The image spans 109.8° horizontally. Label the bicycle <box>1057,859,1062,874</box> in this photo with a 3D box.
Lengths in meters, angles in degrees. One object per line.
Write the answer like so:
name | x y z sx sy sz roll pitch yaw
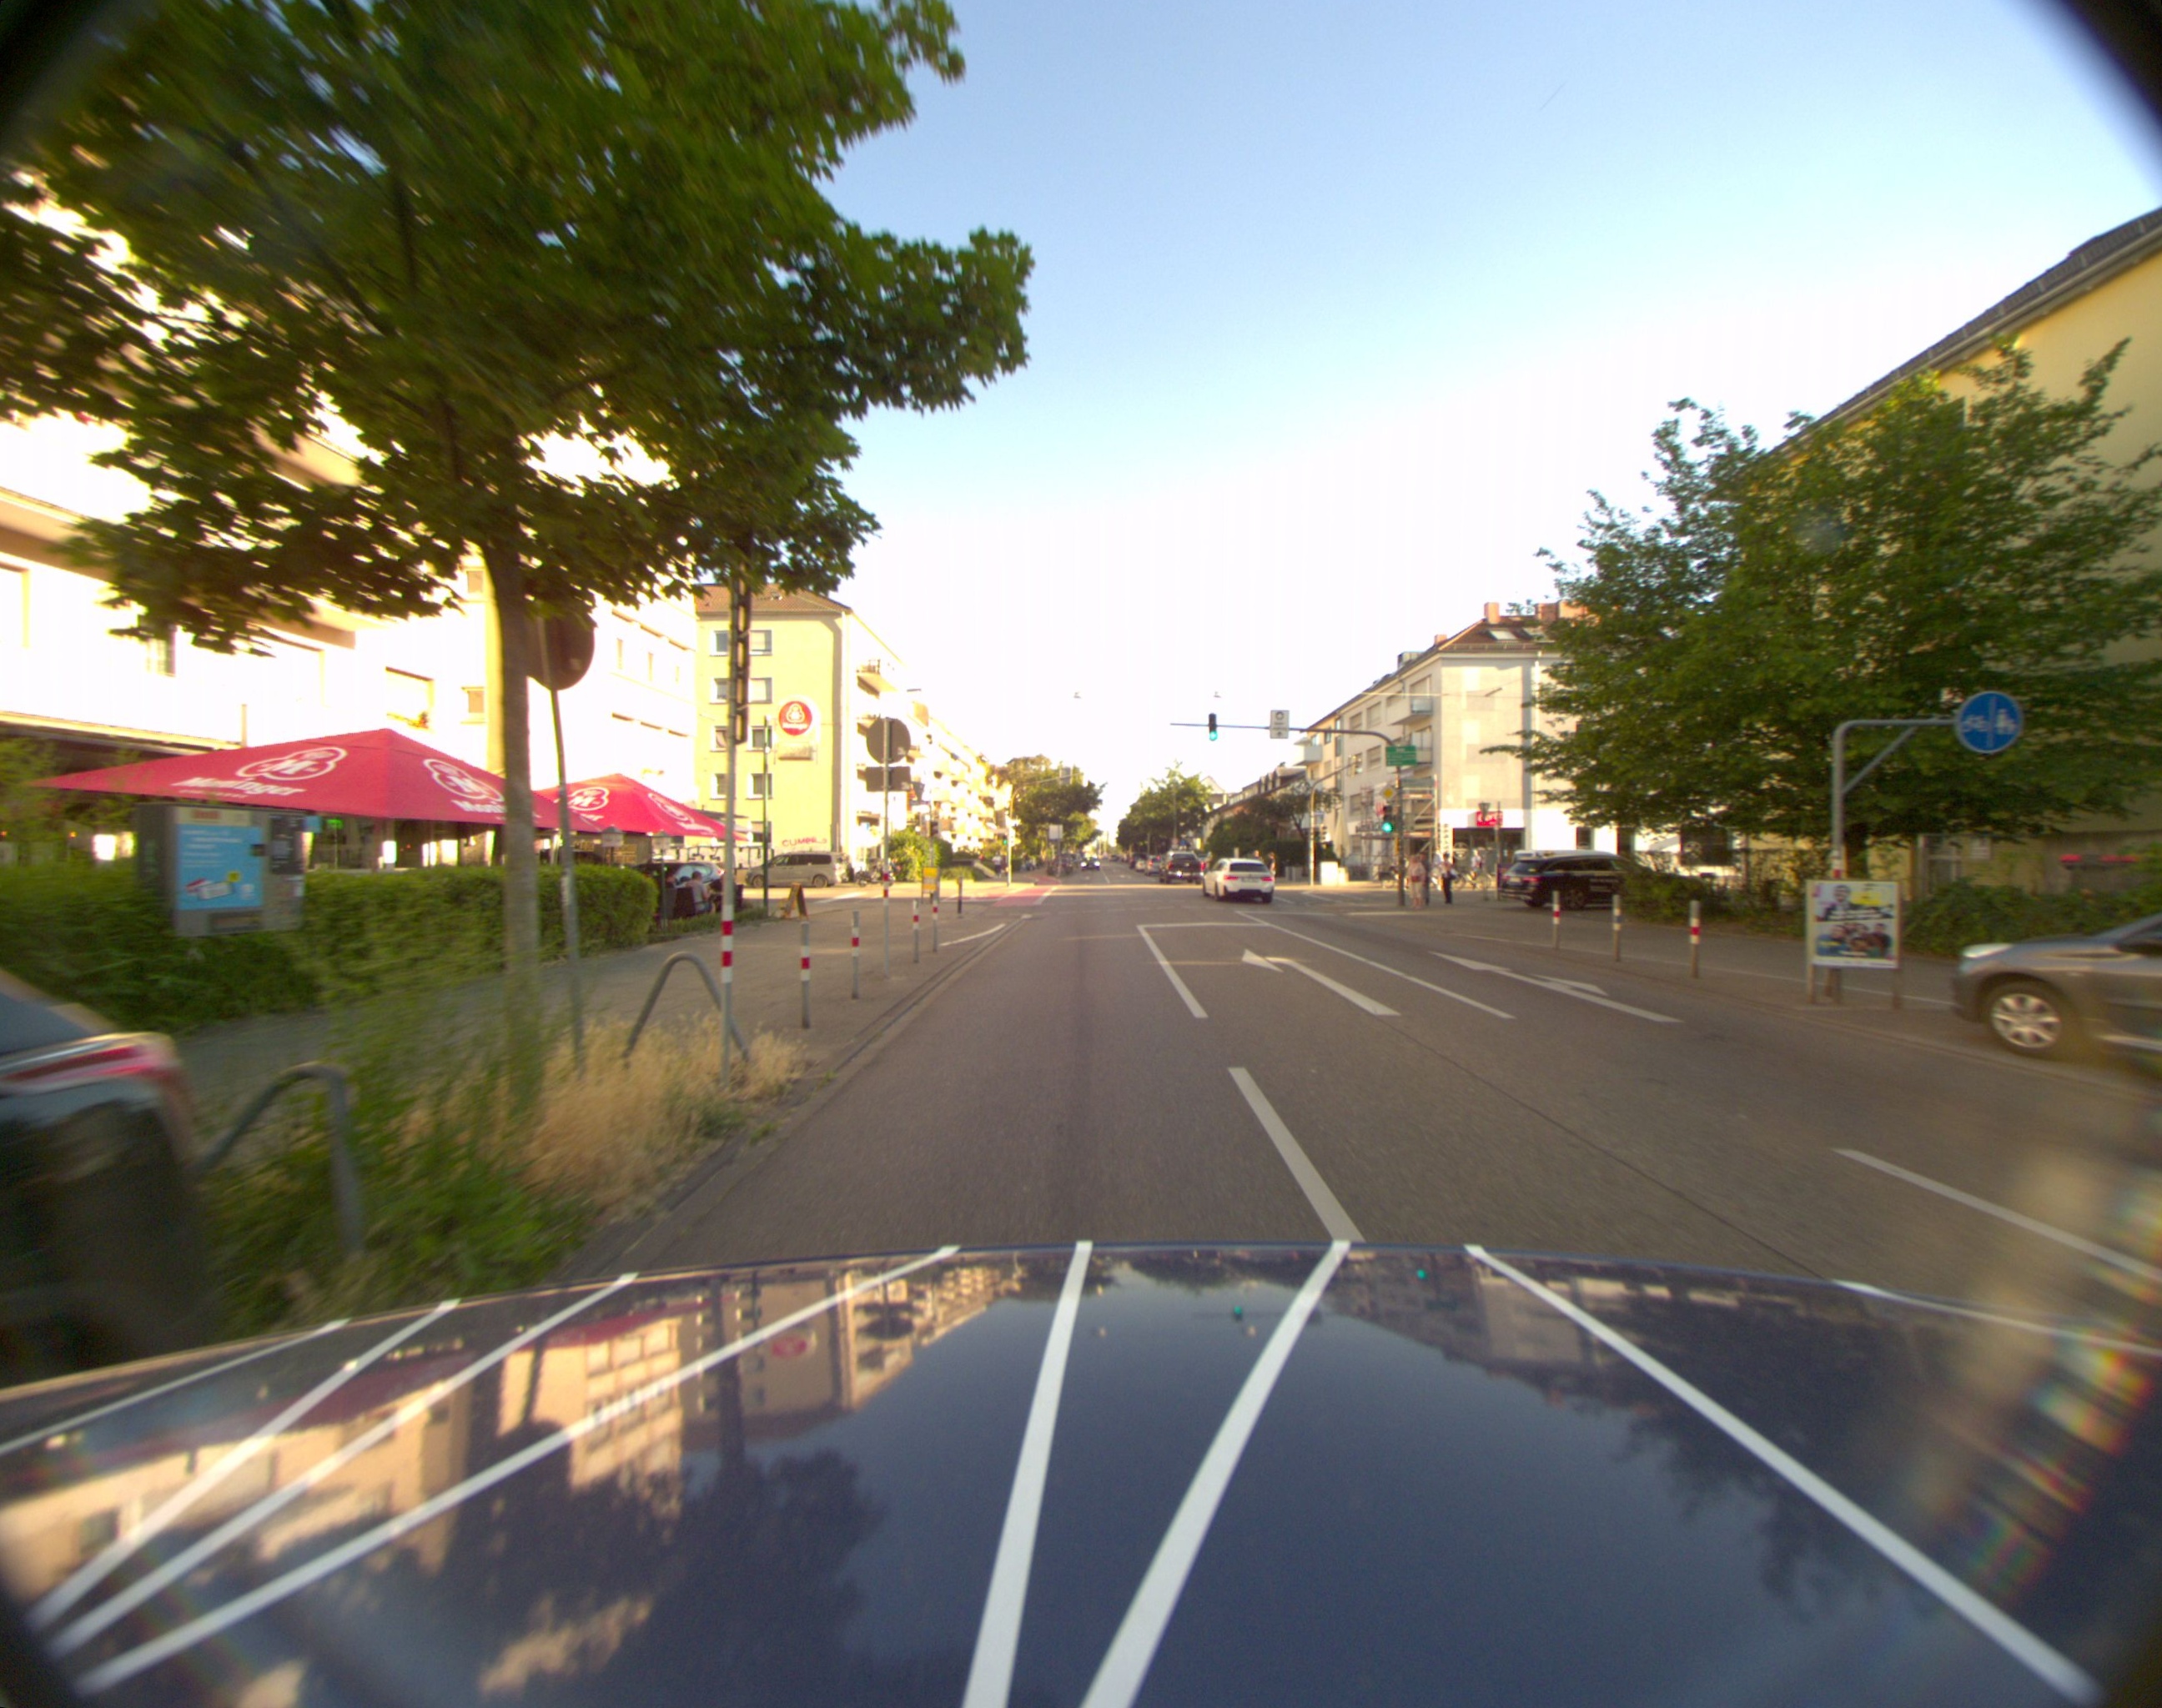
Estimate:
bicycle | -1.627 0.965 58.165 0.325 1.138 1.800 0 0 -4

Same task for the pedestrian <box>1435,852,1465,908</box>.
pedestrian | 11.233 0.795 23.114 0.607 1.620 0.751 -3 2 38

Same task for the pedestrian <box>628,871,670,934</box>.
pedestrian | -9.119 1.017 16.039 0.525 1.275 0.540 -1 1 3

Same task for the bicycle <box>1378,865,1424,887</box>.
bicycle | 15.730 1.065 37.375 1.996 1.083 0.729 0 0 11

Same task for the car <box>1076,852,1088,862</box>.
car | 0.142 0.498 126.073 1.744 1.508 3.811 0 0 3

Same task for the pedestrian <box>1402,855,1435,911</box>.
pedestrian | 9.903 0.846 22.315 0.608 1.585 0.749 -1 2 -2

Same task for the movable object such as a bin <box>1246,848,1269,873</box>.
movable object such as a bin | 12.895 0.471 55.668 1.309 1.649 1.180 -4 2 1

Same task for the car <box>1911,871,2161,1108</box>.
car | 7.721 0.887 4.373 1.657 1.471 3.943 0 0 2

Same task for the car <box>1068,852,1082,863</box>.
car | -0.785 0.503 104.892 1.744 1.508 3.811 0 0 3

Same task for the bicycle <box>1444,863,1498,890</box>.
bicycle | 17.034 0.958 33.202 1.999 1.150 0.728 0 0 -5

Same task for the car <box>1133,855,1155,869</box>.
car | 5.984 0.730 72.422 1.845 1.312 4.442 0 0 2

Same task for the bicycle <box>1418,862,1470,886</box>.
bicycle | 18.084 0.994 37.940 2.267 1.083 0.729 1 3 20

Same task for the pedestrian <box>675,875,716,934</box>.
pedestrian | -7.679 1.000 15.156 0.494 1.143 0.526 -1 1 5

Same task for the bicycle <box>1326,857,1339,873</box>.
bicycle | 16.299 0.720 49.274 0.439 1.009 1.477 0 1 4

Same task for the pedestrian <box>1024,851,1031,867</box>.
pedestrian | -5.704 0.511 81.050 0.659 1.673 0.831 1 1 6

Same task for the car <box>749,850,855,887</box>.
car | -14.739 0.749 40.310 4.842 1.855 1.952 0 2 -1

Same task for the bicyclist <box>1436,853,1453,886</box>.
bicyclist | 18.131 0.788 37.911 0.687 1.586 0.751 1 3 20

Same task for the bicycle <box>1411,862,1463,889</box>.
bicycle | 15.839 0.959 33.868 1.999 1.159 0.728 0 -1 -5

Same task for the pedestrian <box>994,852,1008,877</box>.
pedestrian | -5.581 0.724 52.856 0.830 1.673 0.660 0 1 5

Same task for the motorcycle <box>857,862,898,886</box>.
motorcycle | -10.658 1.063 39.838 1.992 1.194 0.774 -1 1 -12

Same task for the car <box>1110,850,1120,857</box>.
car | 8.116 -0.142 181.984 1.843 1.604 4.406 0 0 -6

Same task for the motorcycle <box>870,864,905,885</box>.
motorcycle | -10.402 1.095 40.900 1.698 1.105 0.594 -1 1 2

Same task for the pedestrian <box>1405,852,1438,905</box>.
pedestrian | 10.769 0.770 24.024 0.750 1.648 0.608 0 1 -6

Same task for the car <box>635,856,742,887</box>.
car | -20.819 0.930 40.471 4.620 1.532 1.952 0 2 -1

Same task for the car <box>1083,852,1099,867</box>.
car | 1.056 0.552 80.493 1.641 1.482 4.415 1 0 1

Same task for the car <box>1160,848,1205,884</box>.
car | 5.478 0.614 41.518 1.866 1.819 5.227 1 0 1

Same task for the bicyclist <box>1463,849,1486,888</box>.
bicyclist | 17.199 0.629 33.217 0.608 1.711 0.750 0 0 -5

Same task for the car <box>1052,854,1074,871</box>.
car | -1.612 0.742 70.362 1.744 1.508 3.811 0 0 3

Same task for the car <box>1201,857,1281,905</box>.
car | 5.412 0.859 26.333 1.841 1.465 4.671 1 0 1

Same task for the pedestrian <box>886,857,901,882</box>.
pedestrian | -10.510 0.855 42.584 0.641 1.383 0.594 -1 1 0

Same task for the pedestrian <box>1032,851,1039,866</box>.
pedestrian | -4.997 0.489 83.318 0.659 1.673 0.831 1 1 6

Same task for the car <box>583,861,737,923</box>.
car | -11.431 0.962 20.999 1.832 1.475 4.204 0 0 1

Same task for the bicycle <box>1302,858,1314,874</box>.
bicycle | 14.784 0.771 49.508 0.439 1.009 1.477 0 1 4

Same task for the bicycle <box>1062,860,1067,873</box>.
bicycle | -1.316 1.000 60.572 0.325 0.981 1.191 0 1 5

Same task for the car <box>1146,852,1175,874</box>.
car | 6.074 0.675 58.420 1.809 1.548 4.000 -2 0 1

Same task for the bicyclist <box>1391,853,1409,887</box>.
bicyclist | 15.697 0.769 37.378 0.672 1.643 0.751 0 0 11

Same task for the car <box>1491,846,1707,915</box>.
car | 13.907 0.684 20.572 4.603 1.604 1.843 -2 0 -2

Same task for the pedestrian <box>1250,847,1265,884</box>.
pedestrian | 9.598 0.637 41.271 0.639 2.002 0.739 0 1 2

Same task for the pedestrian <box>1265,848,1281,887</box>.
pedestrian | 10.051 0.688 39.806 0.645 2.002 0.814 -1 2 2

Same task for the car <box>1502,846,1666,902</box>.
car | 17.526 0.672 26.644 4.483 1.837 1.908 0 1 1

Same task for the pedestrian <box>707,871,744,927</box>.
pedestrian | -7.522 0.947 16.096 0.413 1.143 0.632 -1 1 5

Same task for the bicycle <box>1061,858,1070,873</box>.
bicycle | -1.286 0.941 63.109 0.324 1.138 1.802 0 1 14

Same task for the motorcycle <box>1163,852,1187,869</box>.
motorcycle | 8.807 0.622 71.330 1.263 1.526 2.887 -1 0 -13

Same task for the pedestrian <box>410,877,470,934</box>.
pedestrian | -13.624 1.080 16.162 0.610 1.143 0.720 -1 1 3

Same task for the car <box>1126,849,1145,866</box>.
car | 6.190 0.385 86.794 1.842 1.866 4.409 0 0 0

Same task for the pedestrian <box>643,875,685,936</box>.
pedestrian | -8.217 1.007 14.981 0.487 1.143 0.526 -1 1 5
